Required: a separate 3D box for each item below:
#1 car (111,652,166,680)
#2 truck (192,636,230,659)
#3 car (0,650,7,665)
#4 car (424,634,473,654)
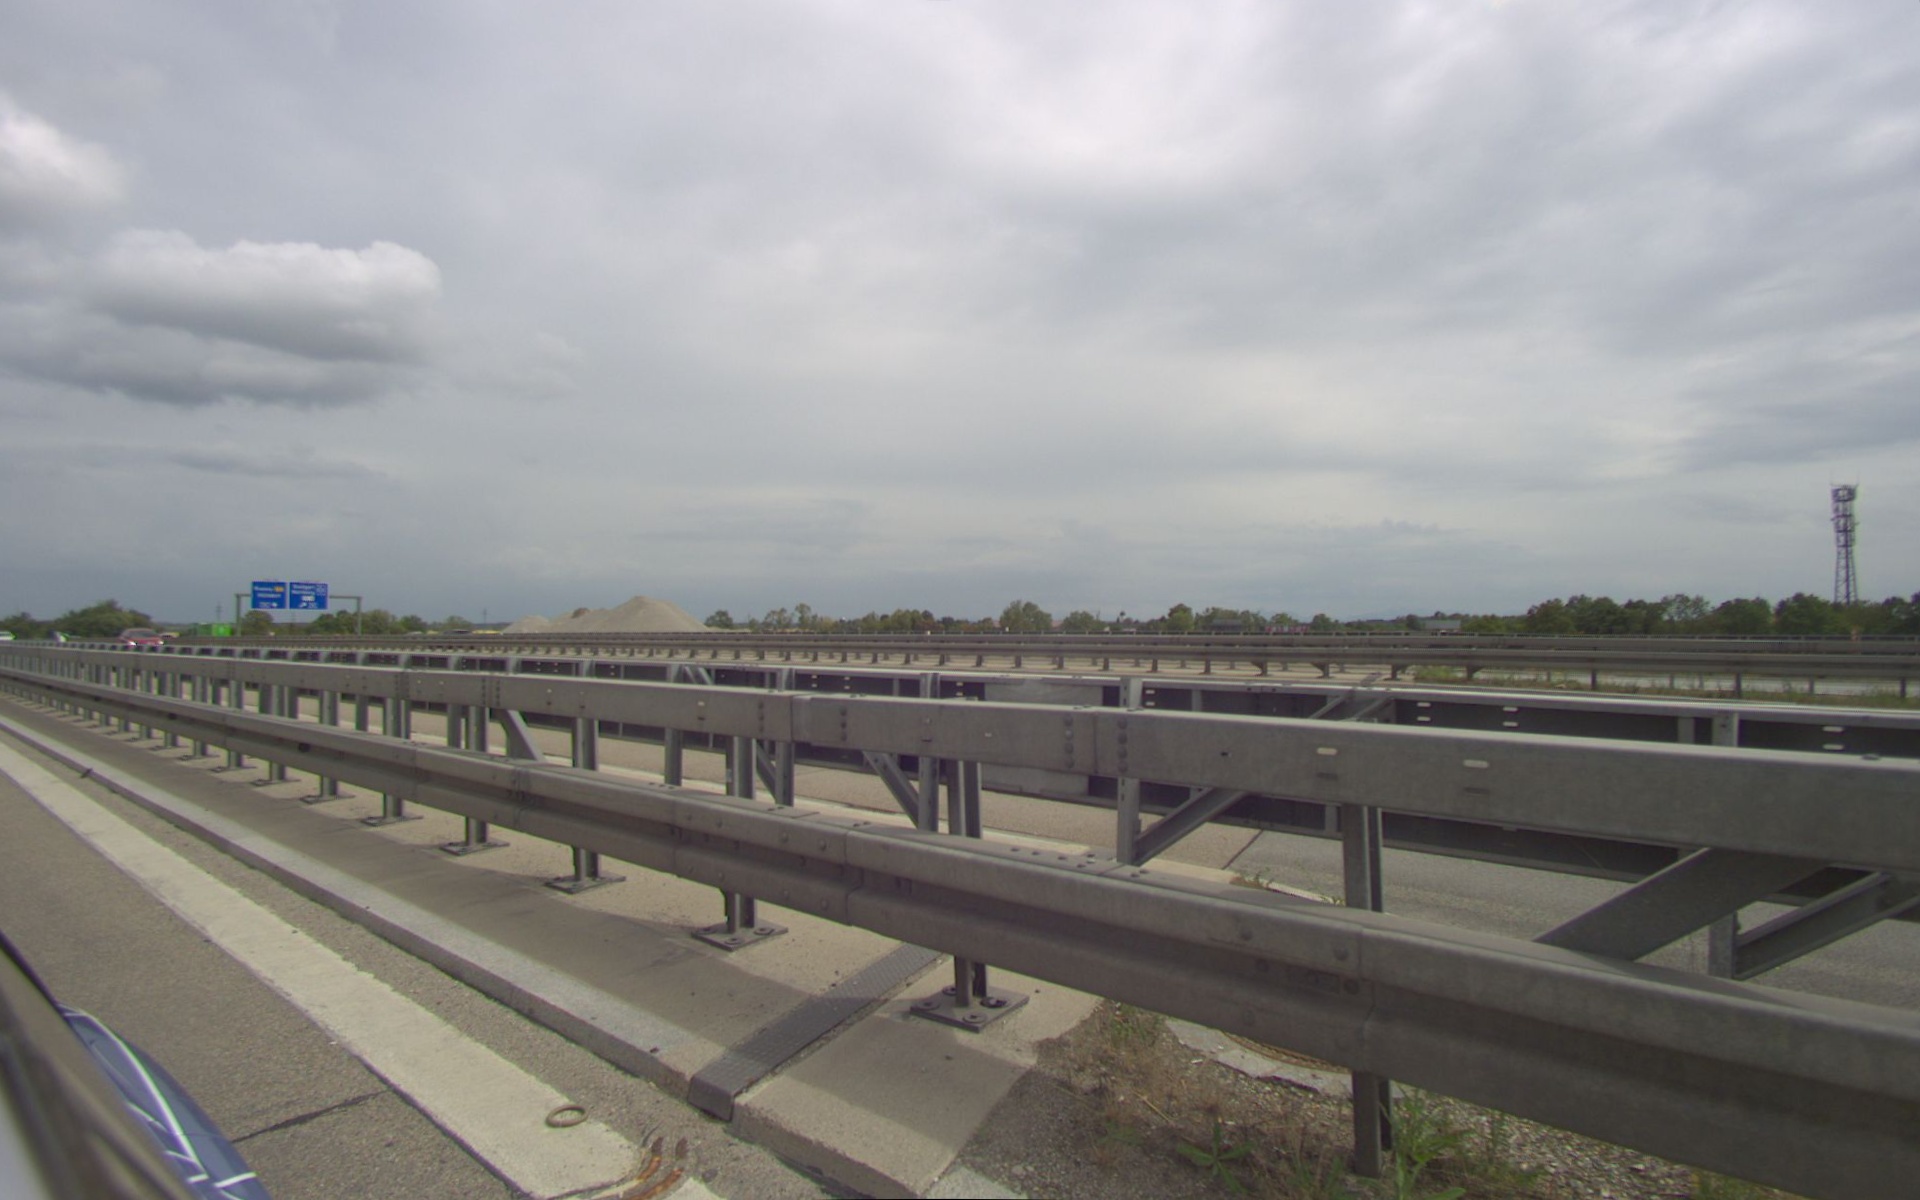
[{"bbox_3d":[-50.034,4.012,61.631,4.351,1.557,1.801,-3,-1,40],"label":"car"},{"bbox_3d":[-125.409,8.011,169.374,10.431,3.662,2.982,-3,-1,41],"label":"truck"},{"bbox_3d":[-133.090,7.934,139.653,4.464,2.029,1.972,-3,-1,42],"label":"car"},{"bbox_3d":[-35.718,3.058,70.613,3.997,1.337,1.697,-2,-2,41],"label":"car"}]
